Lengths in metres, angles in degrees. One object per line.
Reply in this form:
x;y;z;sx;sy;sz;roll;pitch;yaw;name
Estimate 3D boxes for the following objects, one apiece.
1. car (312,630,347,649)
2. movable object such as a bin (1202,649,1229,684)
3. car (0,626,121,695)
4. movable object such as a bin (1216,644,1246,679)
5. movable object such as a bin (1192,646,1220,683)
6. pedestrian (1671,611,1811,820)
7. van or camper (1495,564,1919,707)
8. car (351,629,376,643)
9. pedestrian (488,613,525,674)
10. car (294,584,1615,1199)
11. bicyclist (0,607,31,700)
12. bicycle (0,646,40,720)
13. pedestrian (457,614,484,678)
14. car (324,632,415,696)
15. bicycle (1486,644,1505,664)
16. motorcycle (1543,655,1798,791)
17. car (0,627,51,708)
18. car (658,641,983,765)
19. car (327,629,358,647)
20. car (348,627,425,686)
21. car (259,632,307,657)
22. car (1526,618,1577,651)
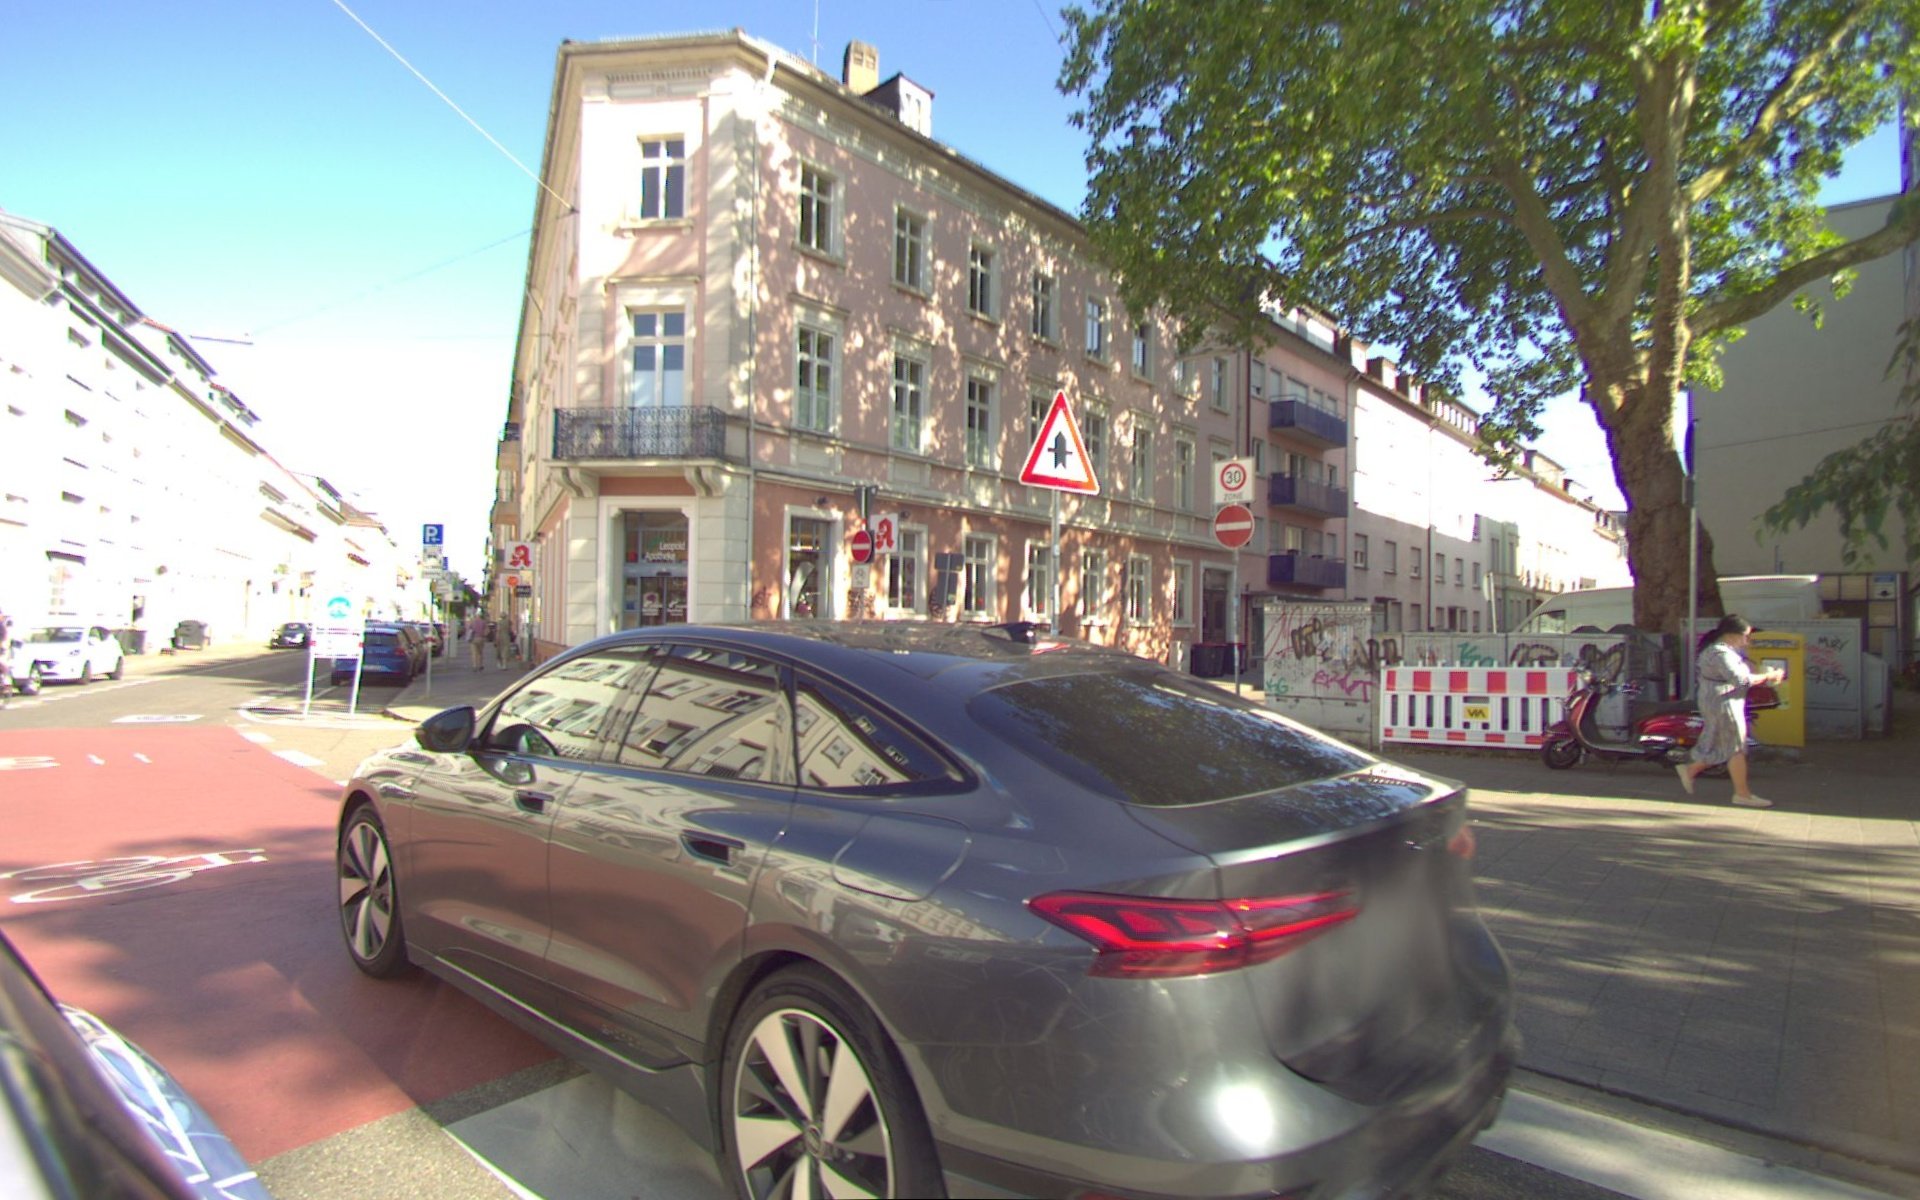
-44.865;2.818;72.045;1.677;1.309;3.651;1;-2;-26;car
8.030;2.080;31.845;0.570;1.066;0.603;2;0;40;movable object such as a bin
-22.015;1.425;24.642;1.604;1.553;3.651;0;-2;-26;car
8.976;2.038;33.505;0.718;1.092;0.610;2;0;41;movable object such as a bin
7.636;1.994;31.374;0.570;1.092;0.645;2;0;40;movable object such as a bin
6.366;0.897;8.285;0.845;1.585;0.835;-1;-3;37;pedestrian
15.553;0.925;21.603;6.927;2.594;1.972;-6;-6;43;van or camper
-55.803;3.376;94.780;1.677;1.309;3.651;2;-2;-26;car
-13.800;1.319;30.806;0.817;1.777;0.754;2;0;-11;pedestrian
-0.574;0.798;3.558;4.577;1.465;1.888;-1;-4;43;car
-16.376;0.894;17.036;0.628;1.558;1.028;1;-2;-14;bicyclist
-16.346;1.392;16.866;0.661;1.208;1.931;1;-2;-15;bicycle
-14.719;1.367;30.442;0.561;1.871;0.709;-1;-1;-15;pedestrian
-15.332;1.630;26.453;1.677;1.444;3.651;4;-2;-26;car
29.907;3.011;56.535;0.490;1.104;1.905;-1;-3;42;bicycle
6.848;1.146;9.832;1.921;1.189;0.660;-4;-4;42;motorcycle
-19.139;1.295;19.209;1.617;1.553;4.397;0;-2;-26;car
-1.799;1.325;14.362;1.862;1.468;4.501;-2;-3;40;car
-48.451;2.966;79.452;1.677;1.309;3.651;2;-2;-26;car
-17.180;1.665;30.439;1.677;1.549;3.651;4;-2;-26;car
-36.996;2.427;55.371;1.677;1.309;3.651;2;-2;-26;car
35.210;2.078;60.162;1.766;1.868;4.267;-2;-3;42;car
